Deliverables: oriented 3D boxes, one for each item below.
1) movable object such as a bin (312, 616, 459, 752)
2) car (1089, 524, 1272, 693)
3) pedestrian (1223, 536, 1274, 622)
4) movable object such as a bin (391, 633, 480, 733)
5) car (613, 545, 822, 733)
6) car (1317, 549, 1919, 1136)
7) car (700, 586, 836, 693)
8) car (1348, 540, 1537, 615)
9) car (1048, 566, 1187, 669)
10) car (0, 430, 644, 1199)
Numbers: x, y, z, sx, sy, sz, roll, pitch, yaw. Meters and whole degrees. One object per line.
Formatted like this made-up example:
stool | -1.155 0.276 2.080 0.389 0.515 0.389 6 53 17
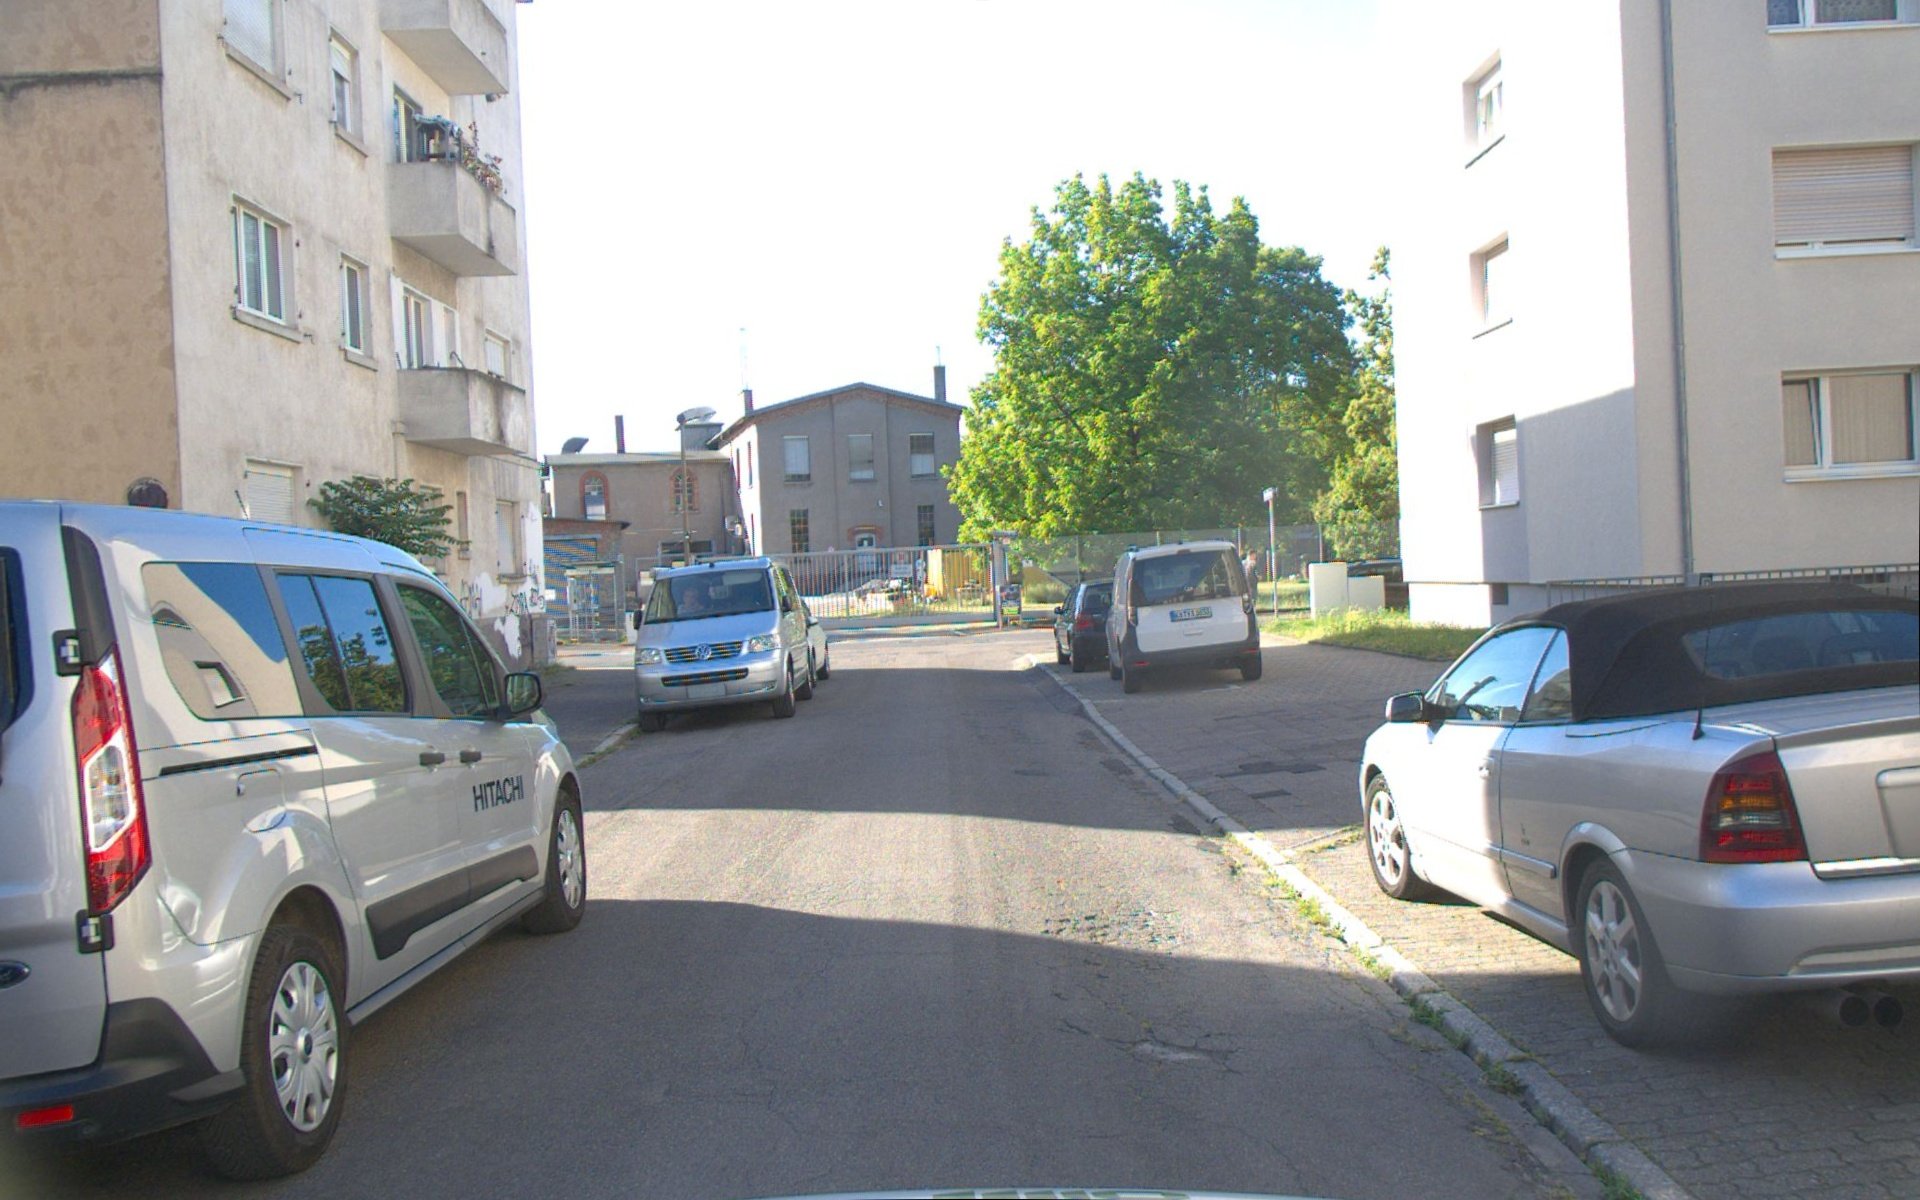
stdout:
movable object such as a bin | -6.380 0.913 18.430 1.230 1.400 1.044 -2 0 -1
car | 2.872 0.089 22.438 1.761 1.877 4.540 -6 0 1
pedestrian | 6.167 -0.451 35.338 0.835 1.802 0.637 -4 1 -44
movable object such as a bin | -6.147 0.959 19.427 0.757 1.098 0.816 -2 0 -1
car | -2.955 0.431 21.248 1.912 1.966 4.855 -5 0 -1
car | 2.845 0.595 6.489 1.707 1.431 4.312 -5 0 -2
car | -3.063 0.585 27.028 1.652 1.484 3.721 -5 0 0
car | 11.510 -0.537 39.617 3.991 1.575 1.622 -3 0 -3
car | 2.585 0.265 28.020 1.762 1.439 4.048 -6 0 -1
car | -2.531 0.667 5.756 1.764 1.861 4.948 -6 0 0
